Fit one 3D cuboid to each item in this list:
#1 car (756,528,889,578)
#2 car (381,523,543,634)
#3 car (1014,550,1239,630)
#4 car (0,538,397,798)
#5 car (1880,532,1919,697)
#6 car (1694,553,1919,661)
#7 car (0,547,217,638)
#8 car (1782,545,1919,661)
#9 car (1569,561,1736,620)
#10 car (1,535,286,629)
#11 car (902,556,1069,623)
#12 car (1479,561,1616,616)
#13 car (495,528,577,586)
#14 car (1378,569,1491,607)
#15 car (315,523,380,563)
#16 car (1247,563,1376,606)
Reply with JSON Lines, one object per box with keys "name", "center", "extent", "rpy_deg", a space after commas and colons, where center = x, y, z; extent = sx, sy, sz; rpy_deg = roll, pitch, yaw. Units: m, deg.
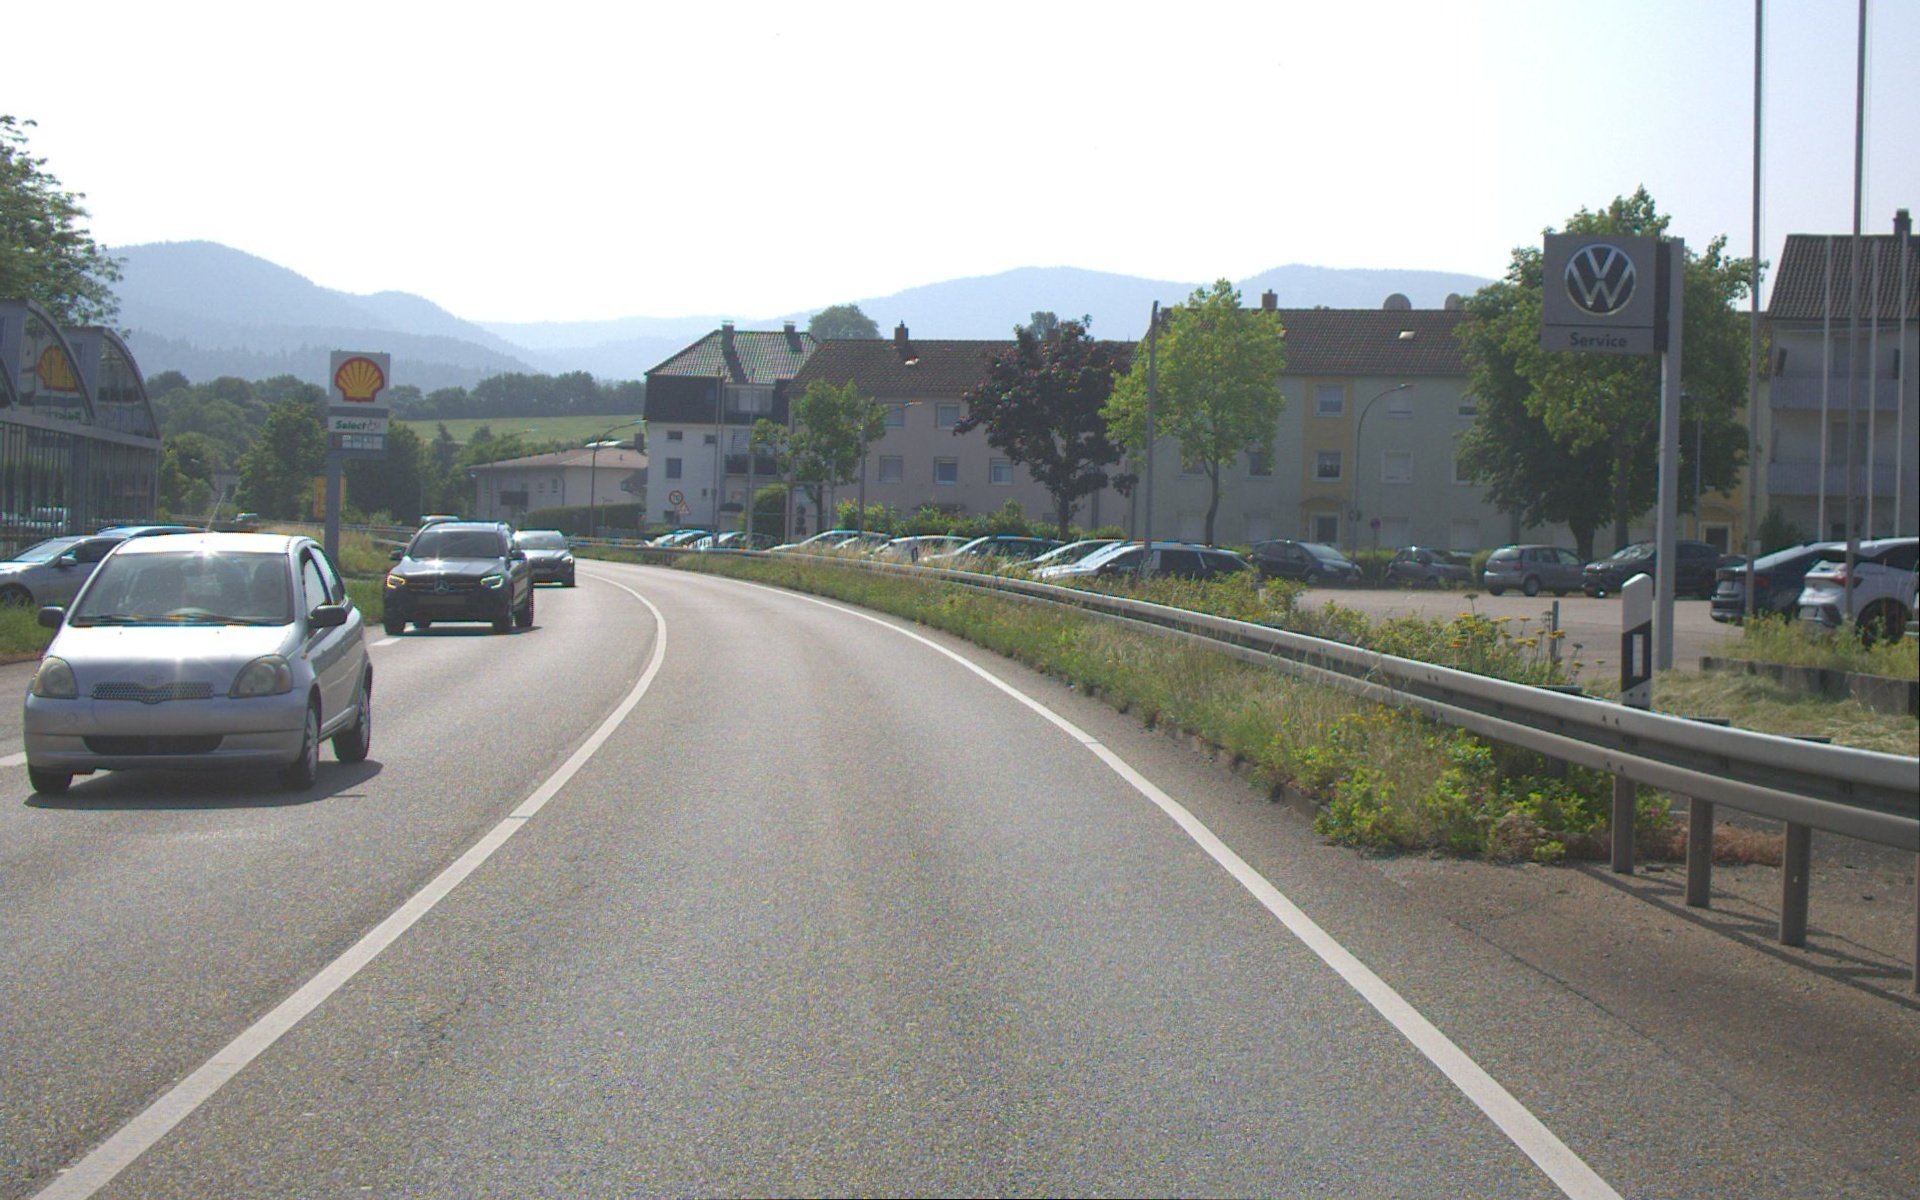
{"name": "car", "center": [-4.672, -1.590, 116.413], "extent": [4.318, 1.634, 2.140], "rpy_deg": [1, 0, -7]}
{"name": "car", "center": [-7.579, -0.344, 52.674], "extent": [1.811, 1.624, 4.541], "rpy_deg": [0, 1, 0]}
{"name": "car", "center": [3.242, -0.199, 67.231], "extent": [4.159, 1.485, 1.732], "rpy_deg": [-1, 0, -6]}
{"name": "car", "center": [-4.651, 0.362, 21.384], "extent": [1.677, 1.468, 3.707], "rpy_deg": [0, 1, 0]}
{"name": "car", "center": [11.364, 0.160, 33.833], "extent": [4.075, 1.604, 1.793], "rpy_deg": [1, 0, -5]}
{"name": "car", "center": [12.772, 0.088, 48.982], "extent": [4.155, 1.511, 1.825], "rpy_deg": [0, 0, -7]}
{"name": "car", "center": [-13.908, -0.133, 53.206], "extent": [4.383, 1.363, 1.852], "rpy_deg": [0, 1, -44]}
{"name": "car", "center": [13.361, 0.046, 46.275], "extent": [4.092, 1.511, 1.825], "rpy_deg": [1, 0, -4]}
{"name": "car", "center": [19.333, -0.270, 95.974], "extent": [4.482, 1.595, 1.841], "rpy_deg": [0, 0, -31]}
{"name": "car", "center": [-13.615, -0.312, 57.471], "extent": [4.221, 1.501, 1.984], "rpy_deg": [0, 1, -44]}
{"name": "car", "center": [0.635, -0.262, 87.110], "extent": [3.986, 1.634, 1.888], "rpy_deg": [1, 0, -7]}
{"name": "car", "center": [16.887, -0.325, 98.775], "extent": [3.754, 1.516, 1.657], "rpy_deg": [0, 1, -33]}
{"name": "car", "center": [-11.172, -1.127, 90.309], "extent": [1.751, 1.469, 4.288], "rpy_deg": [-1, 1, -12]}
{"name": "car", "center": [15.096, -0.384, 109.461], "extent": [1.589, 1.182, 3.662], "rpy_deg": [0, 0, -32]}
{"name": "car", "center": [-29.298, -2.701, 164.383], "extent": [1.914, 1.879, 4.912], "rpy_deg": [-1, 1, -24]}
{"name": "car", "center": [11.674, -0.529, 114.464], "extent": [1.908, 1.400, 4.525], "rpy_deg": [0, 0, -32]}
